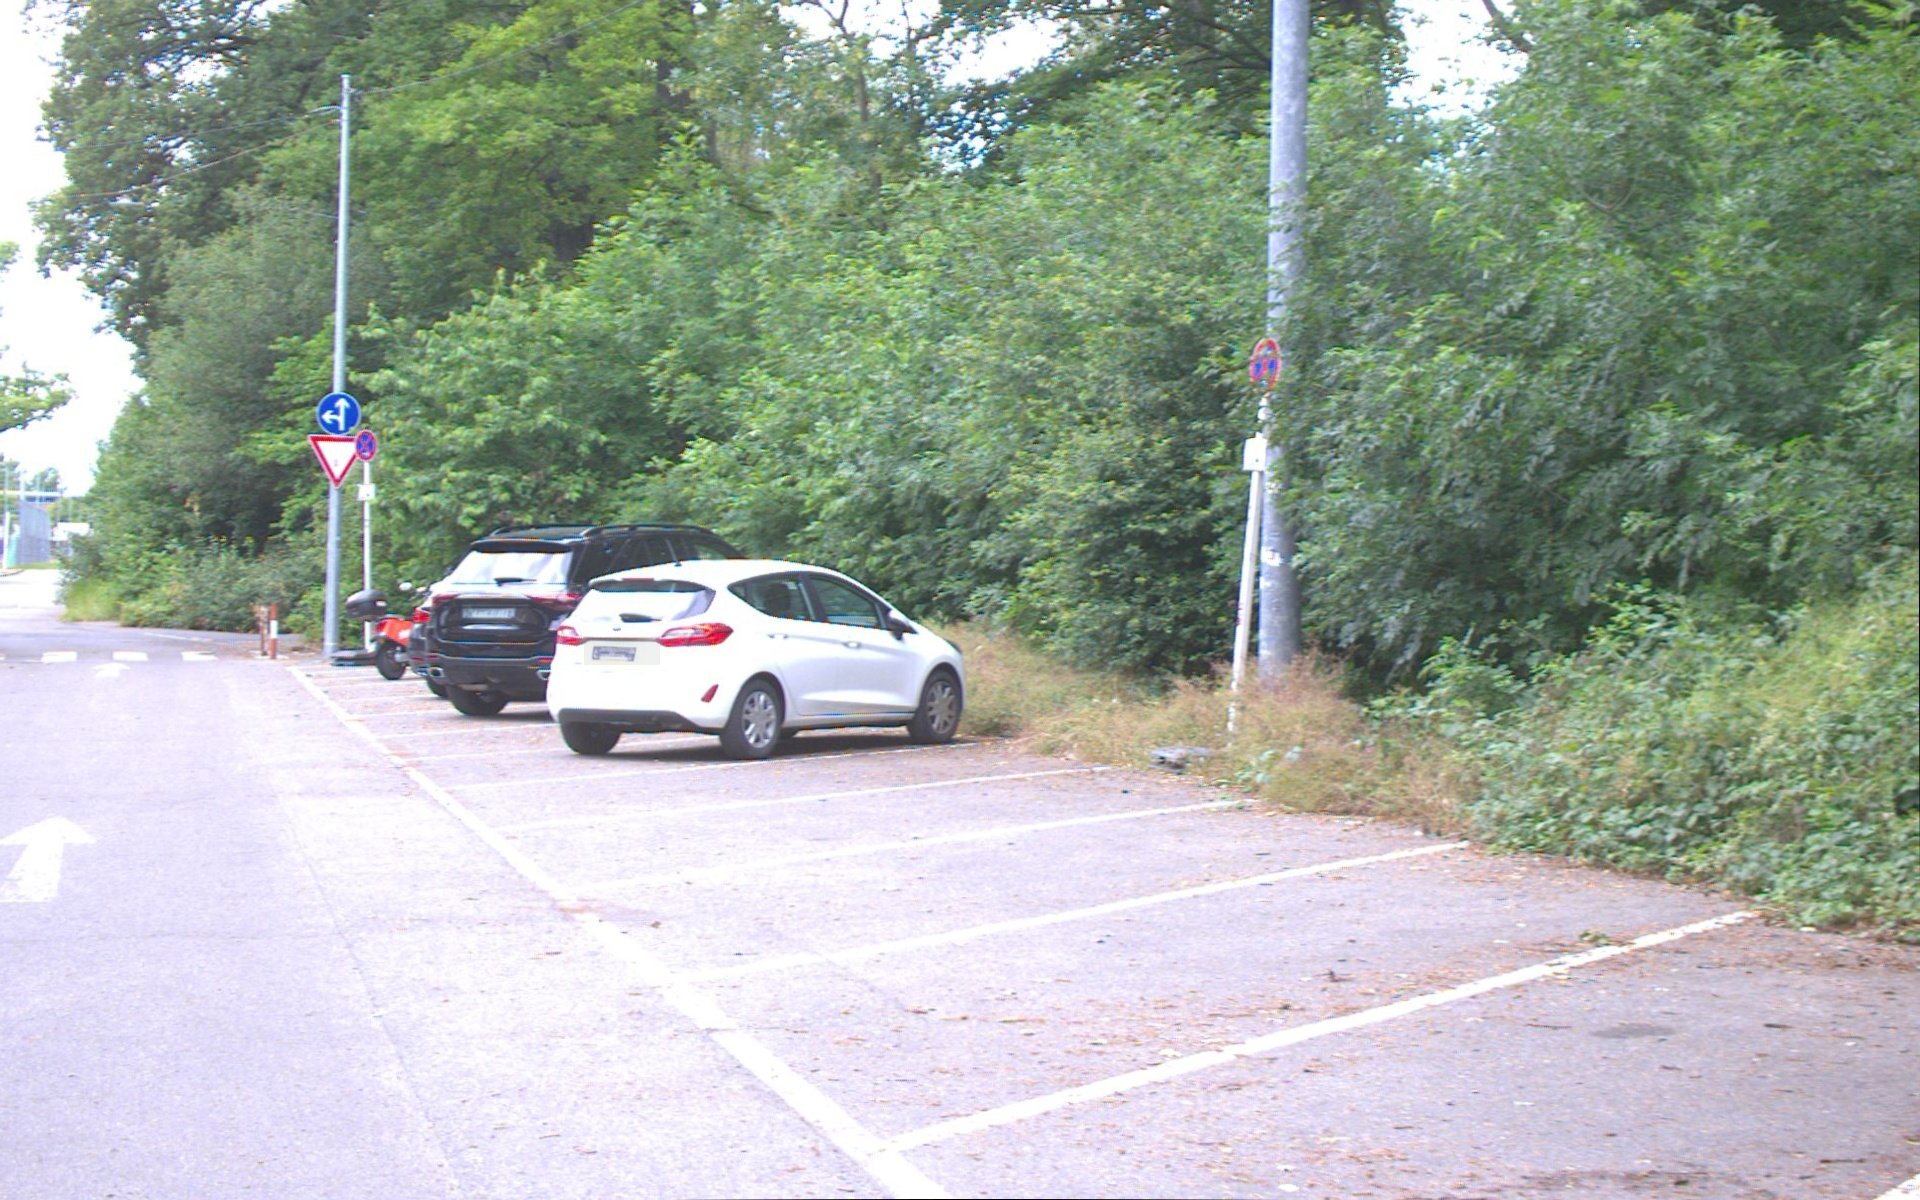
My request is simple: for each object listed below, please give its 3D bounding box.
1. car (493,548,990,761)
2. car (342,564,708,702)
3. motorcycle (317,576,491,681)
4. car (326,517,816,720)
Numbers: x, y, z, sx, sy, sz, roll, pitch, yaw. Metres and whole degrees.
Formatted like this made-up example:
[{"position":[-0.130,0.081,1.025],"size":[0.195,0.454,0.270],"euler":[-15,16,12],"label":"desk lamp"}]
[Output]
[{"position":[-1.612,0.382,26.715],"size":[1.867,1.505,3.992],"euler":[1,0,32],"label":"car"},{"position":[-4.593,0.313,36.788],"size":[1.737,1.371,3.993],"euler":[1,1,32],"label":"car"},{"position":[-6.592,0.326,40.826],"size":[0.730,1.203,2.024],"euler":[1,1,42],"label":"motorcycle"},{"position":[-3.568,0.149,32.431],"size":[2.109,1.761,4.700],"euler":[1,0,32],"label":"car"}]
